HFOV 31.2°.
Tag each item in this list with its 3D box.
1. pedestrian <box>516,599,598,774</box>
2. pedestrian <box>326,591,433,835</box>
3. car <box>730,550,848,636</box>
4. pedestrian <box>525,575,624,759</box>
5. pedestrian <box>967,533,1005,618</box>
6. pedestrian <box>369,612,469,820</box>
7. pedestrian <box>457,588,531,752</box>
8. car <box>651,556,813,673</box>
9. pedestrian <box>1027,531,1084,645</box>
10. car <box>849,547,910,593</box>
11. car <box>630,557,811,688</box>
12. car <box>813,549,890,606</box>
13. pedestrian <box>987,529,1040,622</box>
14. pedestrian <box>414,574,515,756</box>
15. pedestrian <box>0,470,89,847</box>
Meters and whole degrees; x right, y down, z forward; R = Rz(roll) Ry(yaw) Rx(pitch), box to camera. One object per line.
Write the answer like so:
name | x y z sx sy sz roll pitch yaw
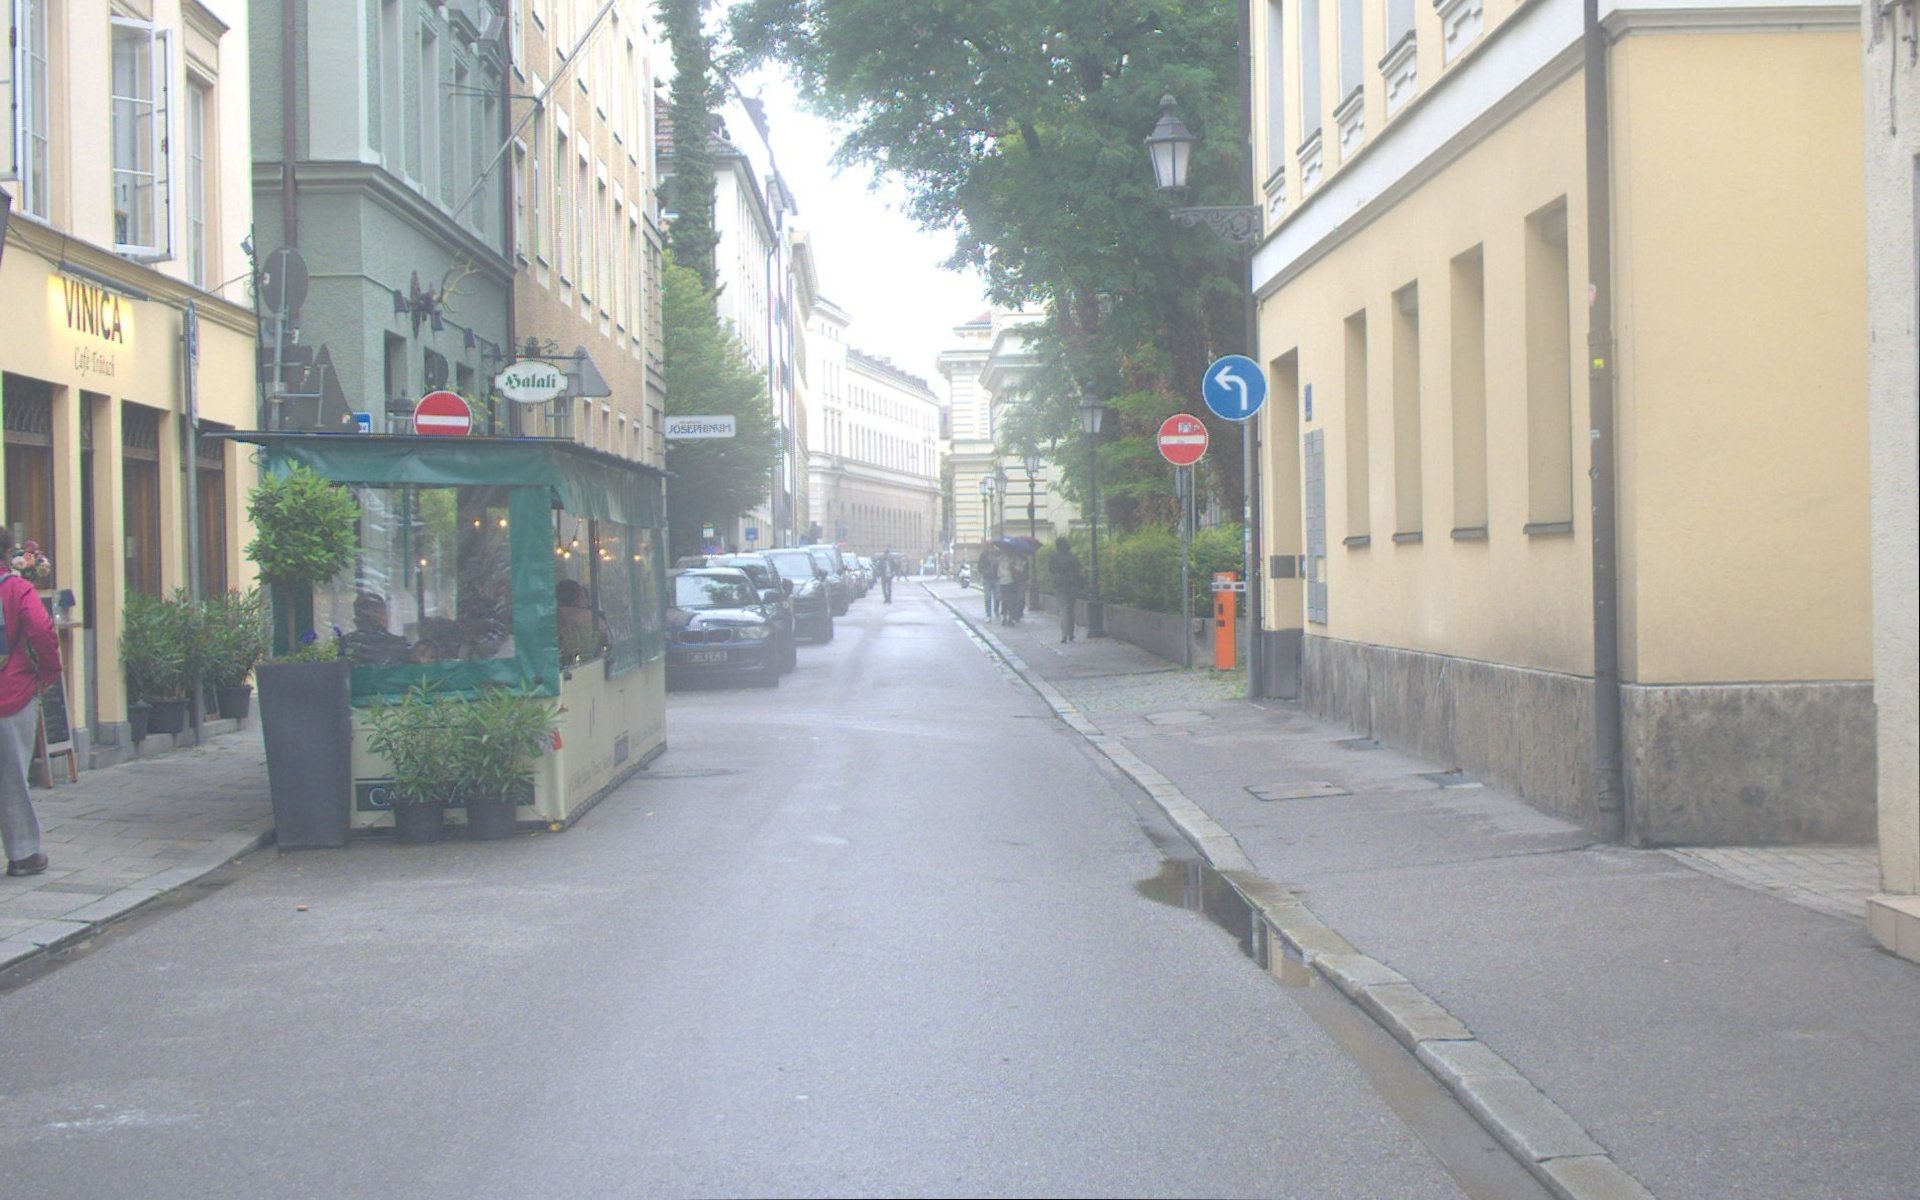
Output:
pedestrian | -2.753 0.587 23.527 0.509 1.171 0.631 0 1 -3
pedestrian | -3.211 0.614 19.052 0.509 1.322 0.631 0 1 -3
car | -2.964 -0.143 60.196 1.779 1.461 3.542 0 1 2
pedestrian | -2.816 0.483 25.164 0.673 1.322 0.696 0 1 -3
pedestrian | 0.546 -0.521 72.557 0.793 1.796 0.903 0 1 0
pedestrian | -3.152 0.666 20.058 0.509 1.183 0.631 0 1 -3
pedestrian | -3.572 0.529 26.363 0.509 1.233 0.631 0 1 -3
car | -2.958 0.164 45.240 1.779 1.461 3.542 0 1 2
pedestrian | 1.521 -0.205 54.795 0.880 1.796 1.046 0 1 0
car | -2.625 -1.000 112.304 1.779 1.461 3.542 0 1 2
car | -2.791 0.232 40.762 1.779 1.461 3.662 0 1 2
car | -2.819 -0.611 89.926 1.779 1.461 3.542 0 1 2
pedestrian | 1.045 -0.485 67.620 1.015 1.796 1.349 0 1 0
pedestrian | -3.660 0.472 25.415 0.673 1.322 0.696 0 1 -3
pedestrian | -4.523 0.263 15.939 0.765 1.702 0.785 -1 1 -3
